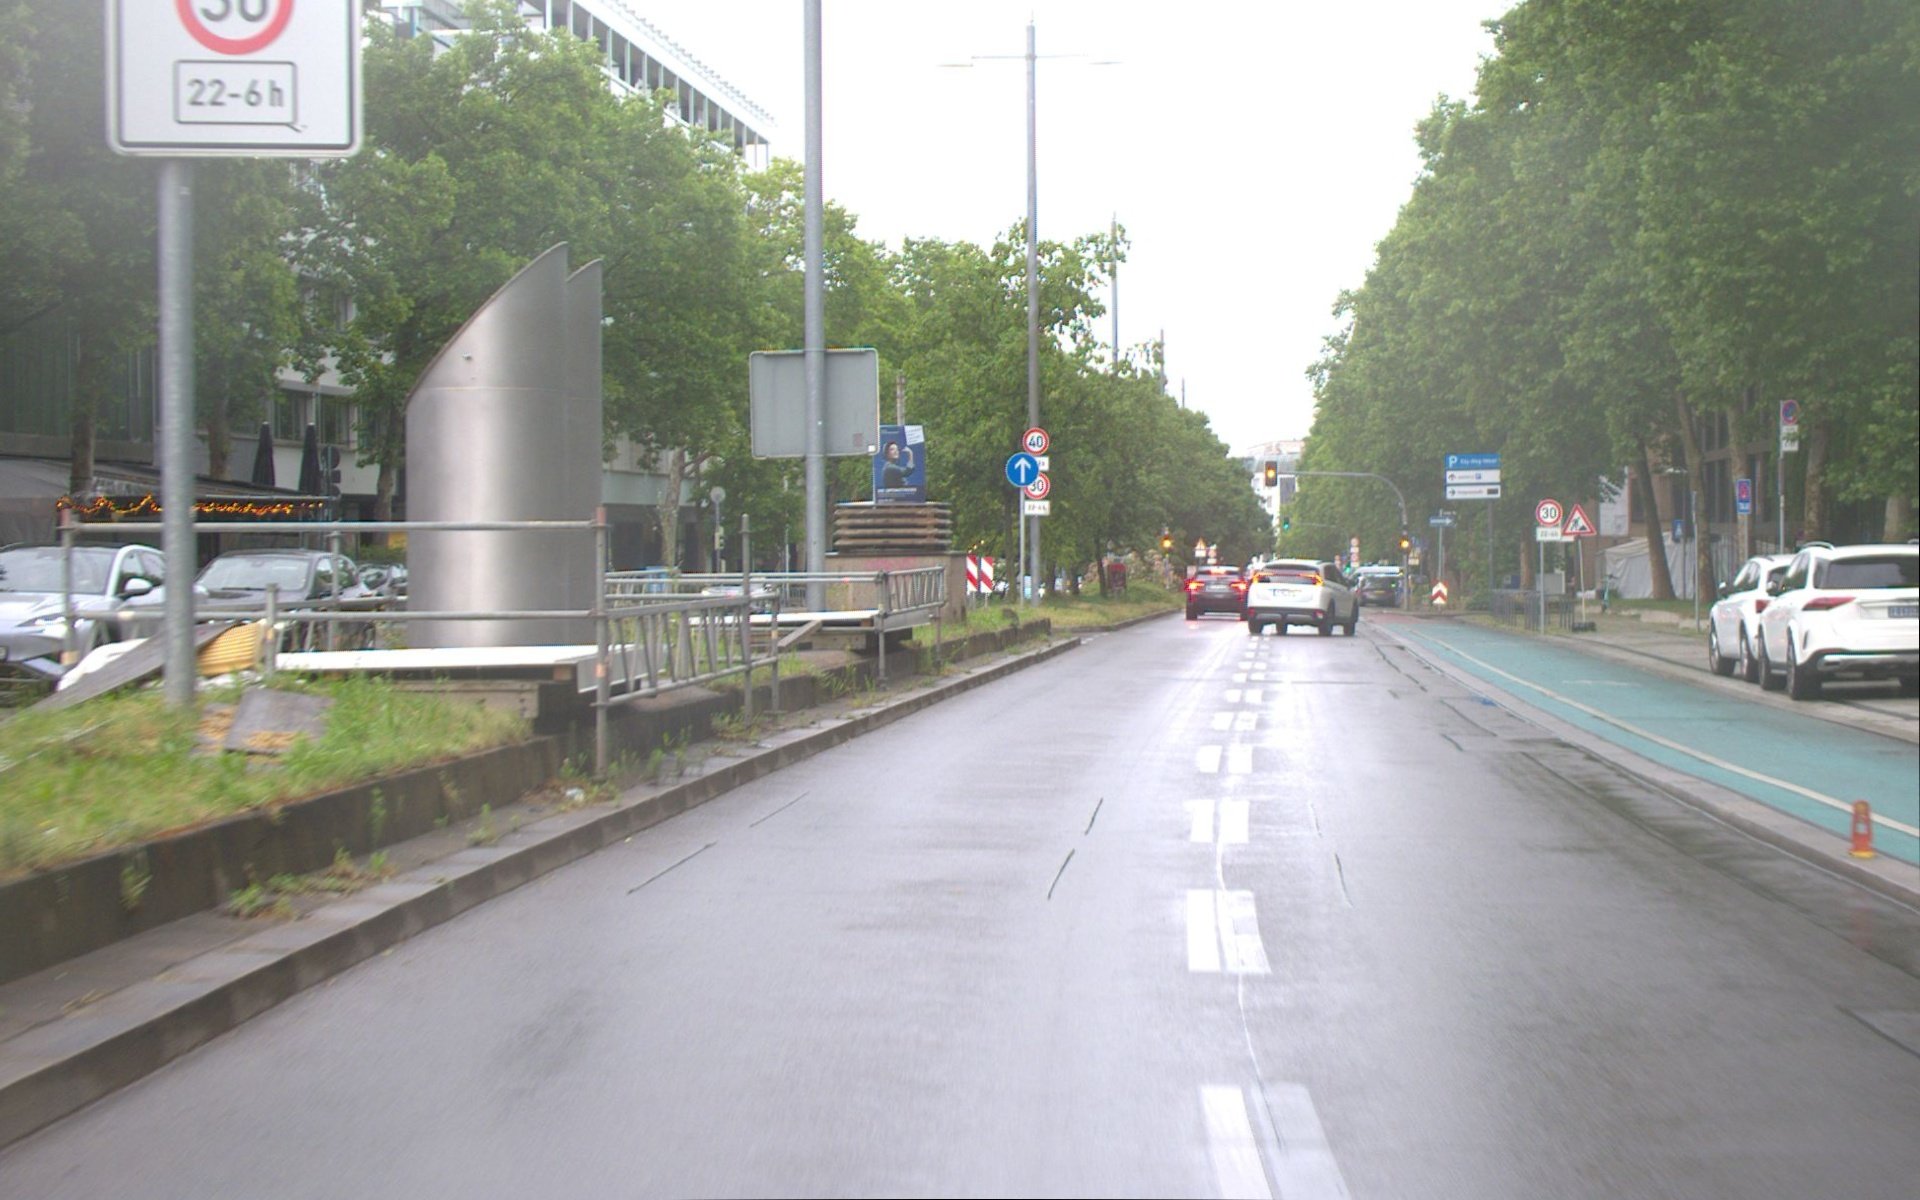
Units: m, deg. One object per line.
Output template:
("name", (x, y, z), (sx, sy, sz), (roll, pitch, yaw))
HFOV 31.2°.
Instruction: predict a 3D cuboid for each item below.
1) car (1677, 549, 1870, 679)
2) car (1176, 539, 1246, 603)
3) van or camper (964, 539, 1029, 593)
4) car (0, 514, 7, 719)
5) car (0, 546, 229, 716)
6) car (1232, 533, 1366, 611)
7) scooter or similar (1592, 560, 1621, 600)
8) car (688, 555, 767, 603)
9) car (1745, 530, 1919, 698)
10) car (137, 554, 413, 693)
("car", (10.913, 0.137, 46.412), (1.844, 1.627, 4.786), (0, 1, 5))
("car", (7.376, -0.868, 100.708), (1.994, 1.827, 3.999), (0, 1, 5))
("van or camper", (1.365, -1.278, 125.760), (1.994, 1.907, 5.250), (0, 1, 5))
("car", (-9.378, 0.185, 27.237), (1.836, 1.760, 5.108), (0, 1, 5))
("car", (-9.012, 0.255, 34.913), (1.735, 1.568, 4.831), (0, 1, 5))
("car", (7.544, -0.649, 76.183), (1.995, 1.649, 4.884), (1, 1, 17))
("scooter or similar", (20.226, -0.624, 107.560), (0.381, 1.224, 1.076), (1, 1, 42))
("car", (-7.217, -0.670, 107.186), (1.967, 1.404, 4.957), (0, 1, 2))
("car", (10.436, 0.106, 40.358), (1.844, 1.832, 5.093), (-1, 1, 7))
("car", (-8.265, 0.239, 41.928), (1.914, 1.547, 4.540), (0, 1, 8))
